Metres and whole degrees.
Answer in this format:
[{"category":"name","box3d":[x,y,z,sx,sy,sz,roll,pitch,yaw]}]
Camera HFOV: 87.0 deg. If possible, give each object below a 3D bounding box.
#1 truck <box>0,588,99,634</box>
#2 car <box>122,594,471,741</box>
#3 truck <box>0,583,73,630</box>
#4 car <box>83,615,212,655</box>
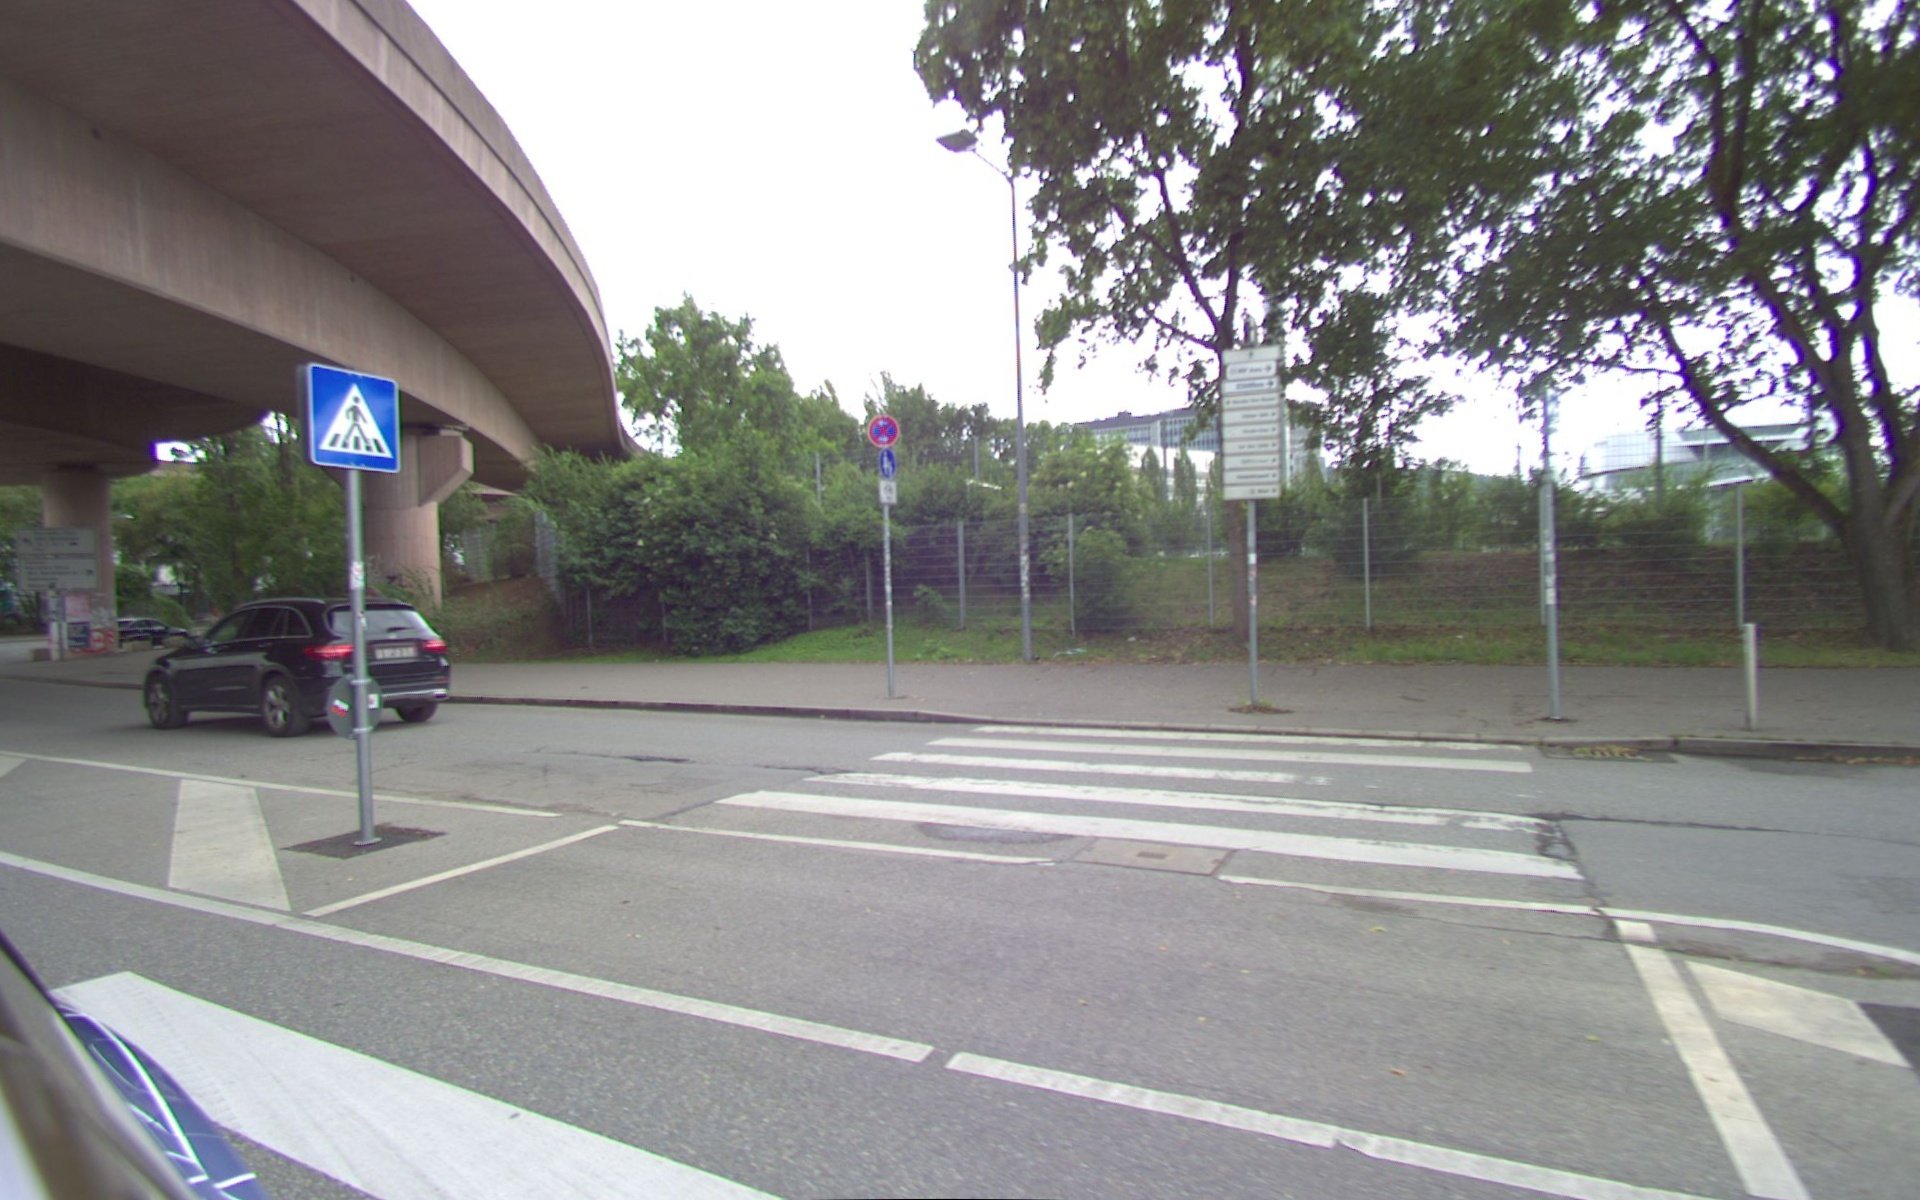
[{"category":"truck","box3d":[-74.369,0.857,79.524,2.258,3.524,10.128,0,1,26]},{"category":"car","box3d":[-8.579,0.785,13.012,4.529,1.586,1.828,-1,1,29]},{"category":"truck","box3d":[-71.897,0.494,76.890,2.261,3.434,6.351,0,1,28]},{"category":"car","box3d":[-36.399,1.528,45.533,1.804,1.441,4.771,-4,1,2]}]
